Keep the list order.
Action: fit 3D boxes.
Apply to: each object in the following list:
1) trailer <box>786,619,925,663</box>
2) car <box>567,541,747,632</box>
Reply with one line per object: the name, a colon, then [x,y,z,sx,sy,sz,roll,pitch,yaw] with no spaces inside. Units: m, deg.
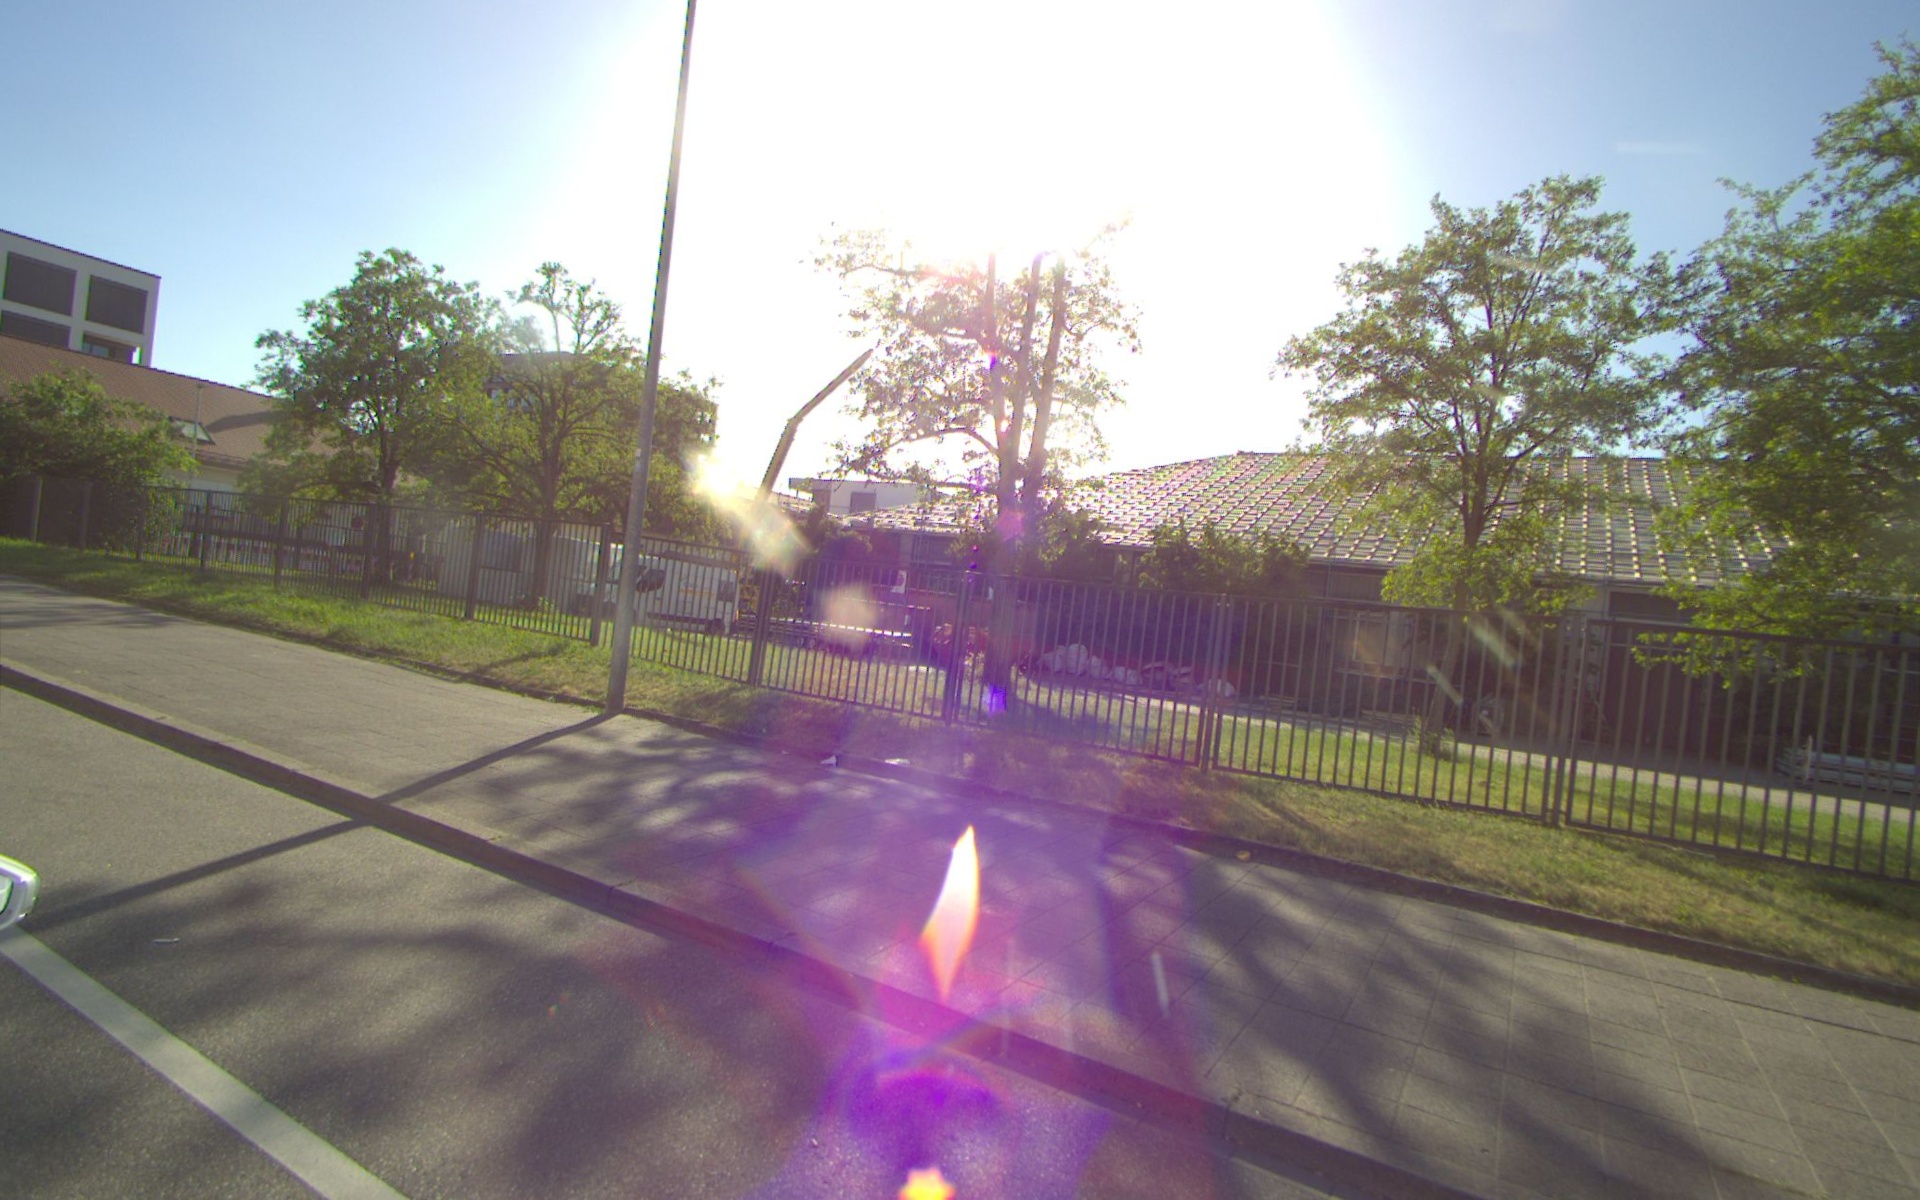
trailer: [-3.813,1.447,35.997,5.034,0.930,1.897,6,-1,39]
car: [-9.660,-0.363,32.536,1.969,2.229,5.286,8,0,36]
